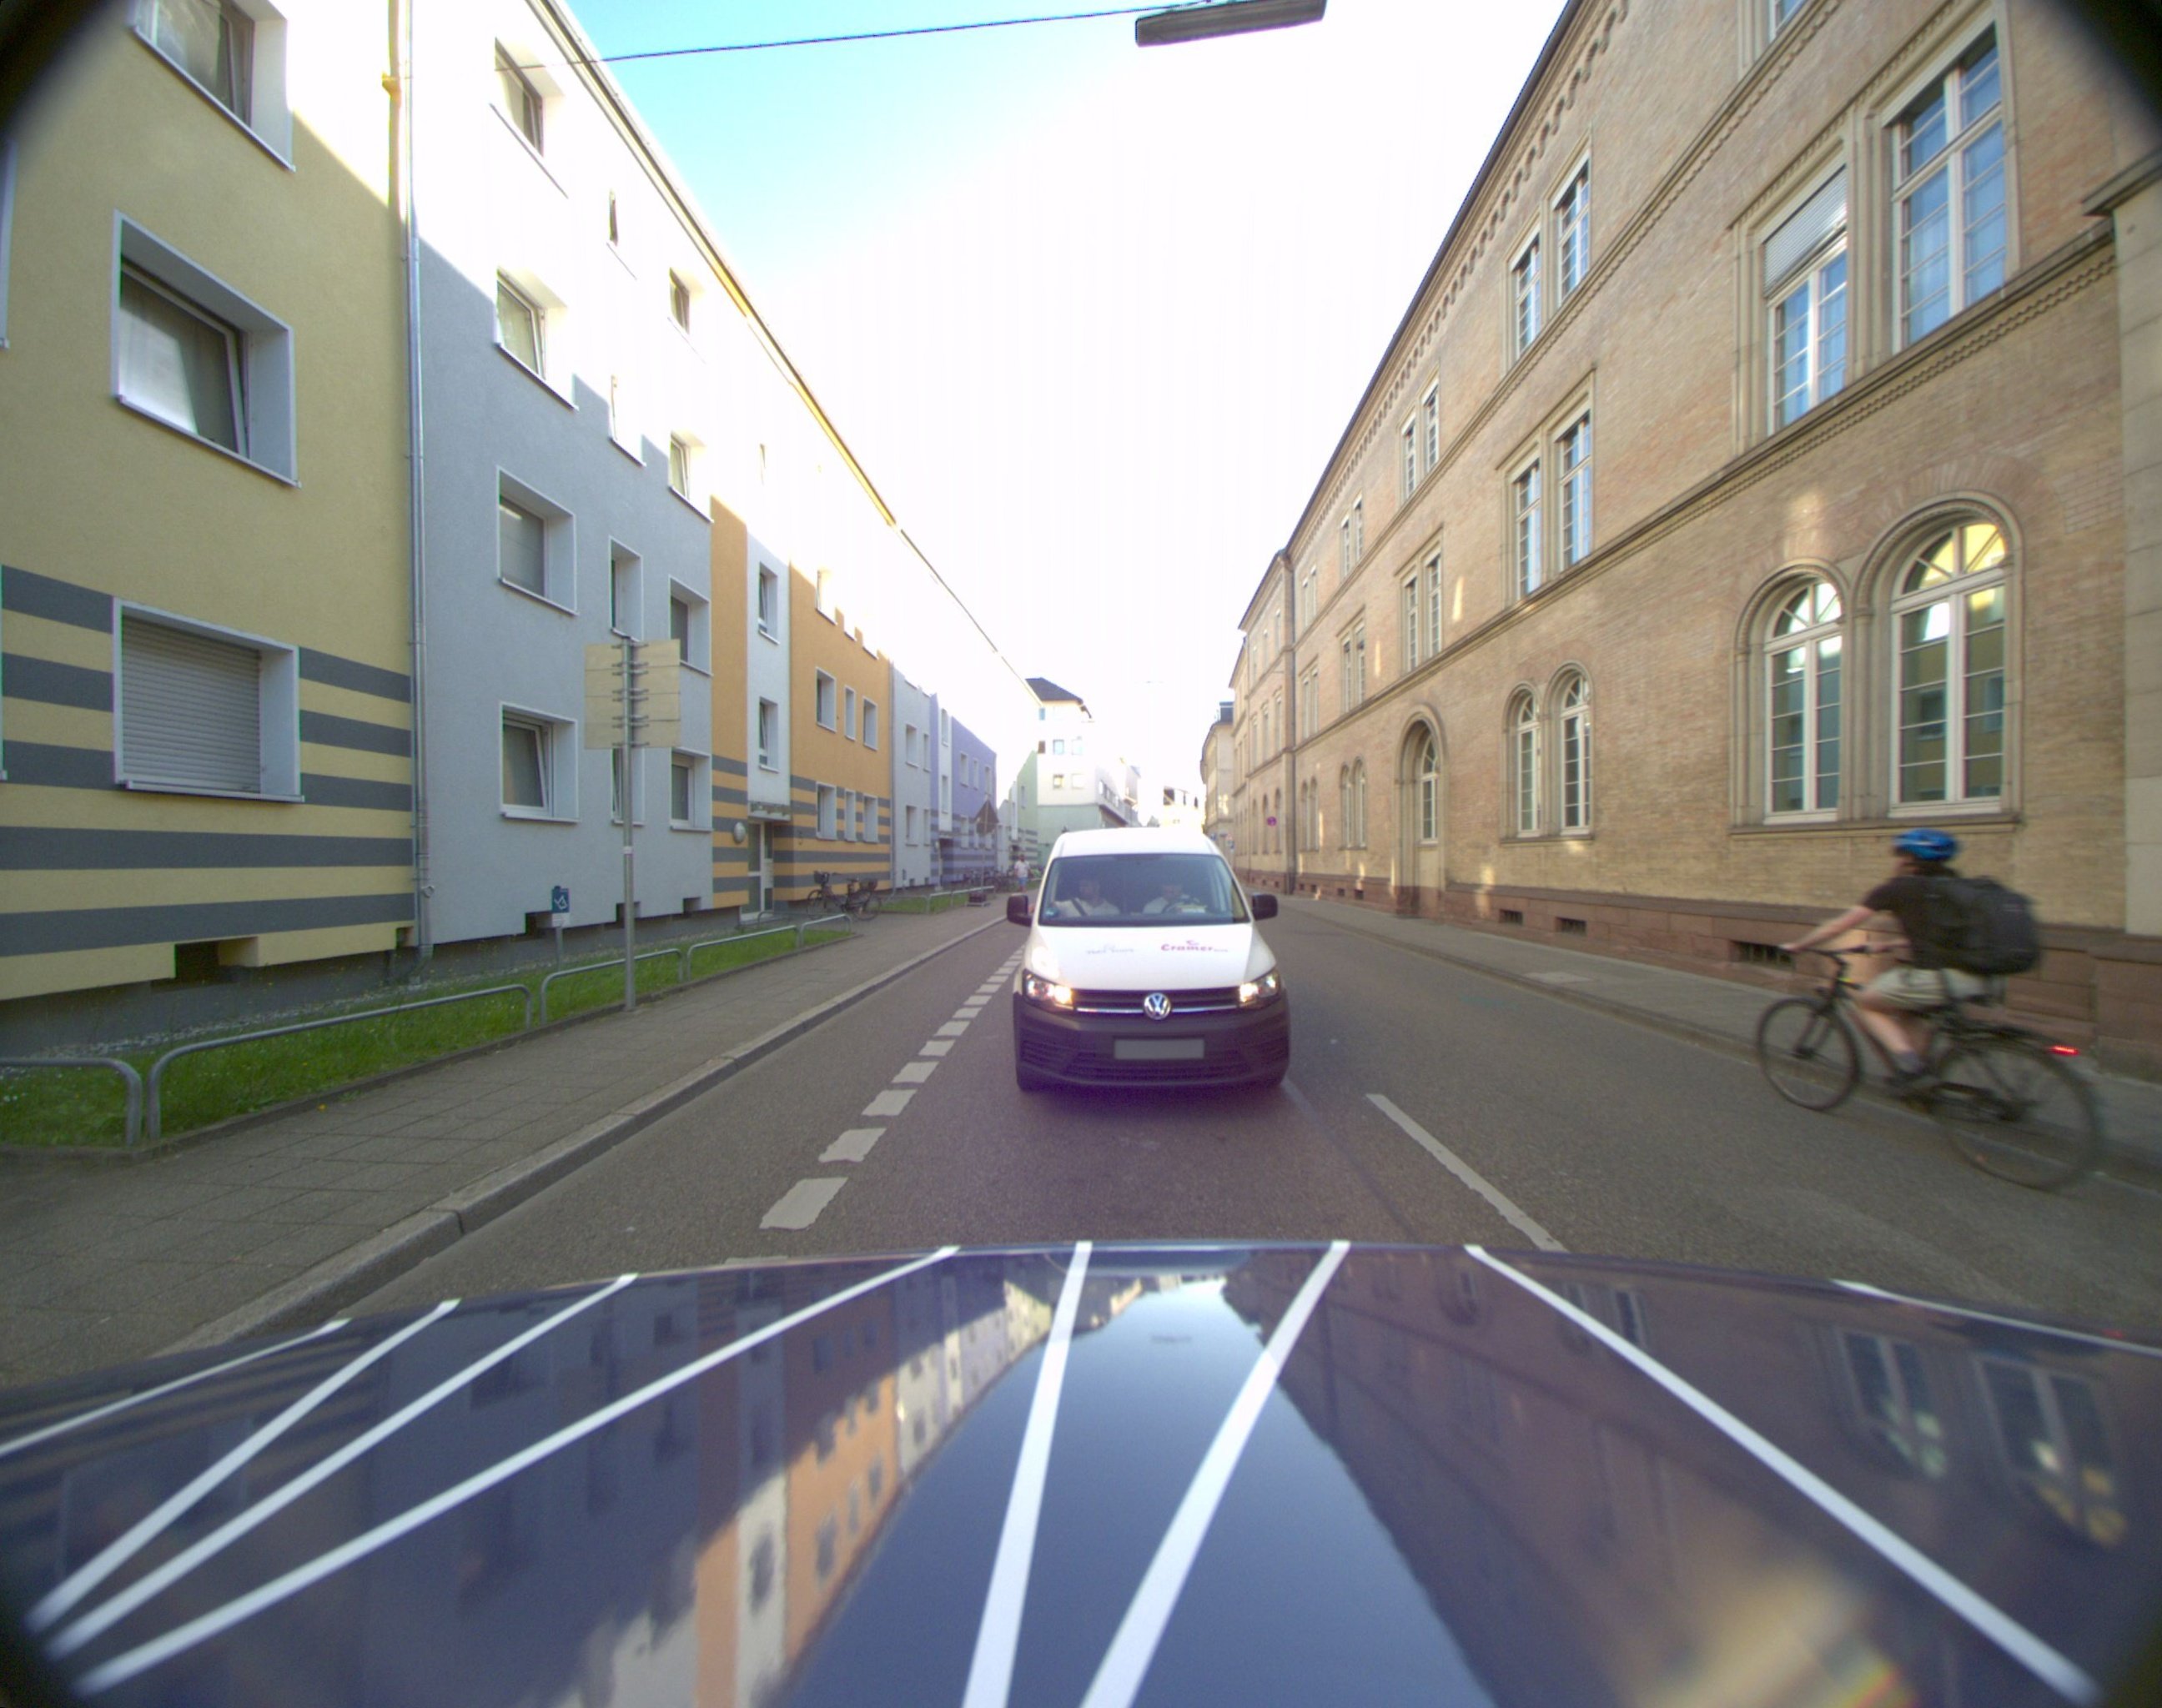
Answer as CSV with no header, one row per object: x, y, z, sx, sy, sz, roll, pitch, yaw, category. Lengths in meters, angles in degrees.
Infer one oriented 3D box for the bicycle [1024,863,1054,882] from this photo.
-2.512,1.135,46.039,1.779,1.145,0.484,0,0,0,bicycle

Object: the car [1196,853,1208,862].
26.097,0.731,163.740,1.996,1.643,4.233,-2,1,17,car

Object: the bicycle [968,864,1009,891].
-4.028,1.007,33.123,1.676,1.145,0.484,0,0,4,bicycle

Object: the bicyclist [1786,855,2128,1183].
4.549,0.767,4.053,0.592,1.518,1.079,0,0,2,bicyclist

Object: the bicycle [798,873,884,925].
-5.382,1.007,17.092,1.780,1.116,0.484,0,0,-5,bicycle

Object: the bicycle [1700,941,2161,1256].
4.564,1.179,4.285,0.592,1.145,1.970,0,0,2,bicycle

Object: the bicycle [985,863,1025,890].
-3.369,0.990,33.668,1.676,1.145,0.484,0,0,4,bicycle

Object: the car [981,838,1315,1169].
0.398,0.775,6.739,1.769,1.761,5.331,-1,1,1,car

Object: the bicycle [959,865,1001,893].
-4.232,1.034,31.829,1.676,1.145,0.484,0,0,4,bicycle

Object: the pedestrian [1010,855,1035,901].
-2.101,0.858,27.500,0.705,1.627,0.833,2,2,5,pedestrian

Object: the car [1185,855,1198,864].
22.114,1.021,152.009,1.996,1.643,4.233,-2,1,17,car

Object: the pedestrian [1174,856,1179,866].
15.464,1.151,123.416,0.704,1.627,0.833,3,2,14,pedestrian
